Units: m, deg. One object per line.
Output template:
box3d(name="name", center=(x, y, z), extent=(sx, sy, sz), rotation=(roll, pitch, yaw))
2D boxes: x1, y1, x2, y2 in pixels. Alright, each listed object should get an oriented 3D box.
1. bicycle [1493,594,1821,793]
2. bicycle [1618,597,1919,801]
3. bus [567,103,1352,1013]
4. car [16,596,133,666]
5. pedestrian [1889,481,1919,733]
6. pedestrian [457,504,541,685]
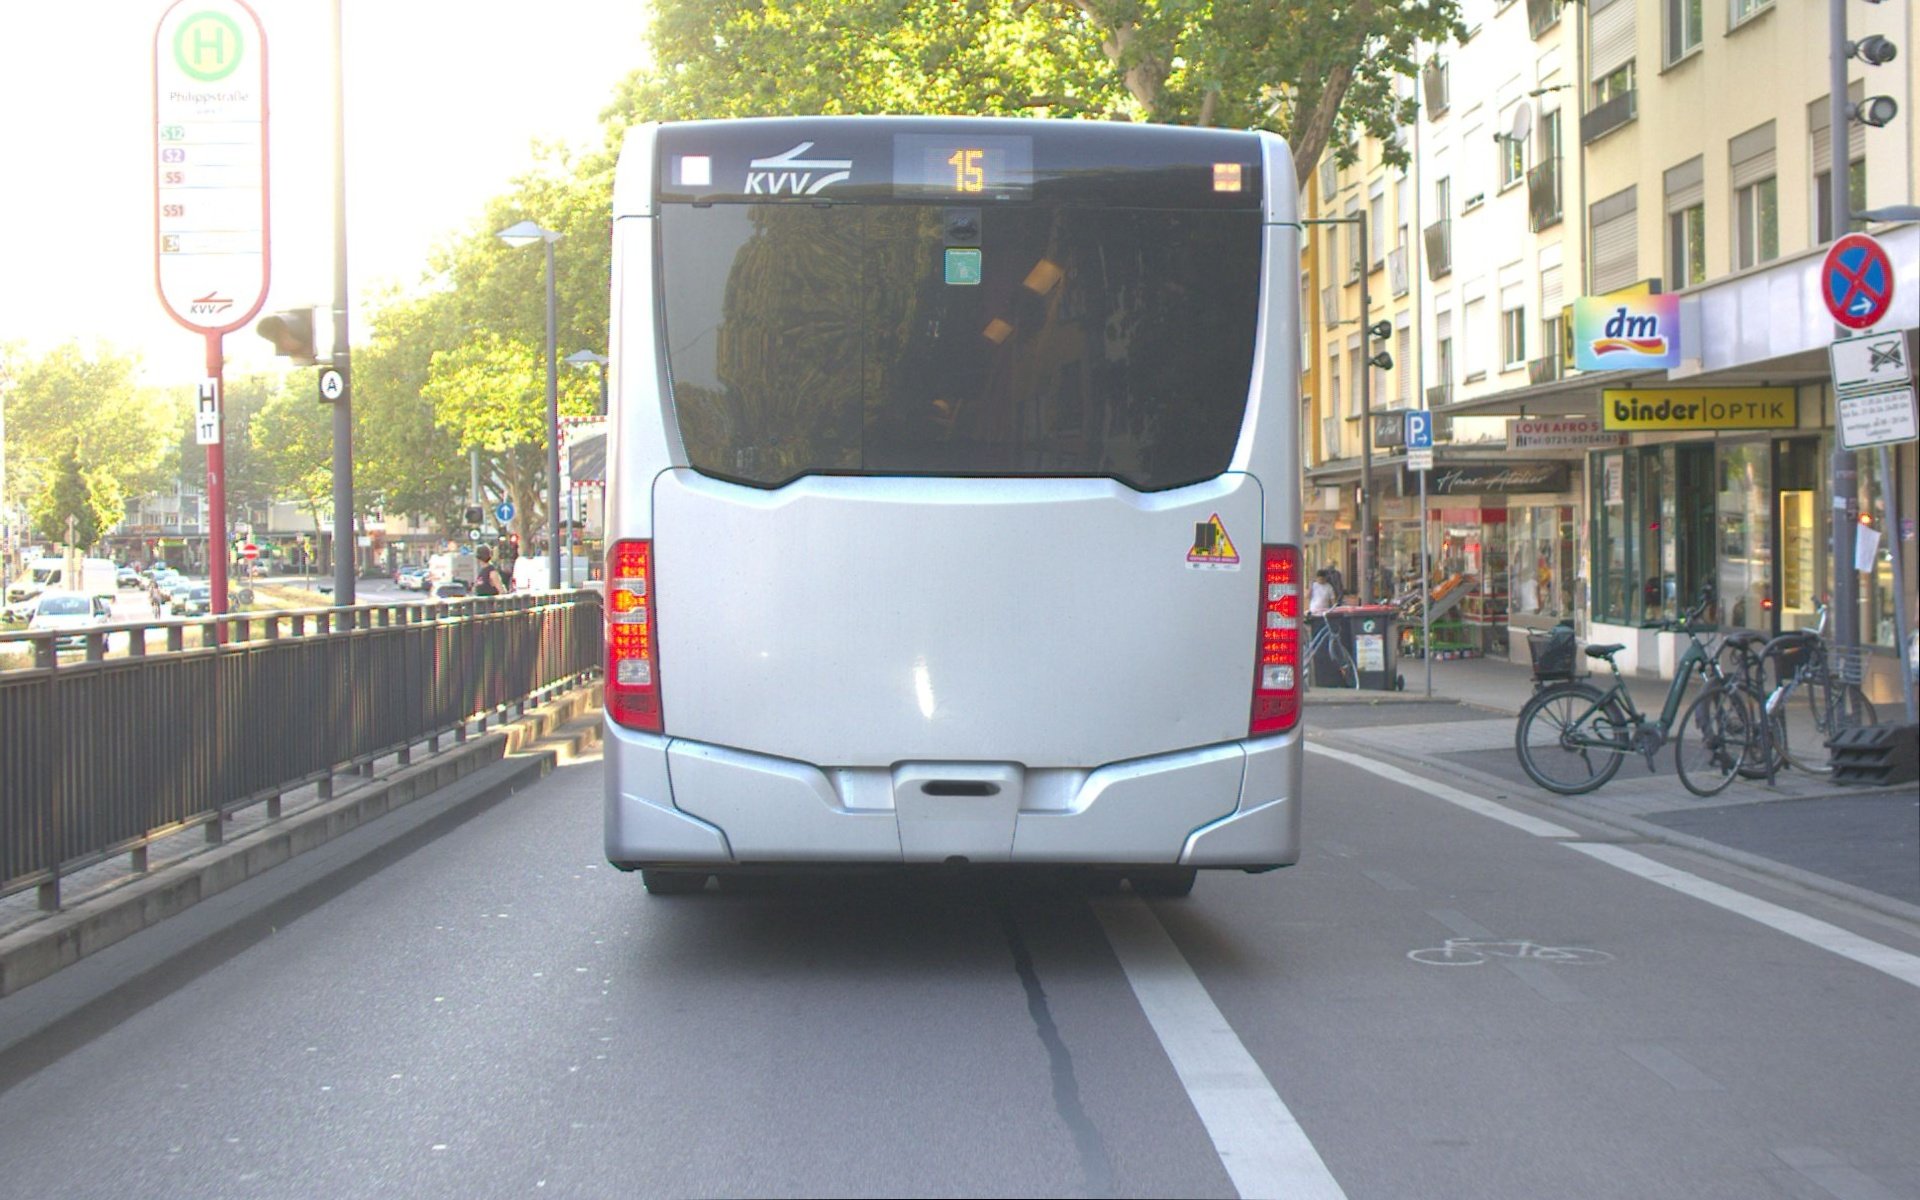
box3d(name="bicycle", center=(4.449, 0.592, 22.044), extent=(1.887, 1.073, 0.754), rotation=(-5, 1, 3))
box3d(name="bicycle", center=(4.993, 0.596, 21.145), extent=(1.703, 1.073, 0.592), rotation=(-6, 1, -18))
box3d(name="bus", center=(-0.333, -0.237, 16.509), extent=(2.696, 3.107, 9.383), rotation=(0, 1, -4))
box3d(name="car", center=(-22.722, 0.772, 88.385), extent=(1.993, 1.645, 4.000), rotation=(-1, 1, -1))
box3d(name="pedestrian", center=(7.178, 0.039, 24.761), extent=(0.723, 1.789, 0.766), rotation=(-1, 1, -1))
box3d(name="pedestrian", center=(-6.571, -0.086, 49.052), extent=(0.889, 2.537, 1.163), rotation=(-1, 1, 6))
